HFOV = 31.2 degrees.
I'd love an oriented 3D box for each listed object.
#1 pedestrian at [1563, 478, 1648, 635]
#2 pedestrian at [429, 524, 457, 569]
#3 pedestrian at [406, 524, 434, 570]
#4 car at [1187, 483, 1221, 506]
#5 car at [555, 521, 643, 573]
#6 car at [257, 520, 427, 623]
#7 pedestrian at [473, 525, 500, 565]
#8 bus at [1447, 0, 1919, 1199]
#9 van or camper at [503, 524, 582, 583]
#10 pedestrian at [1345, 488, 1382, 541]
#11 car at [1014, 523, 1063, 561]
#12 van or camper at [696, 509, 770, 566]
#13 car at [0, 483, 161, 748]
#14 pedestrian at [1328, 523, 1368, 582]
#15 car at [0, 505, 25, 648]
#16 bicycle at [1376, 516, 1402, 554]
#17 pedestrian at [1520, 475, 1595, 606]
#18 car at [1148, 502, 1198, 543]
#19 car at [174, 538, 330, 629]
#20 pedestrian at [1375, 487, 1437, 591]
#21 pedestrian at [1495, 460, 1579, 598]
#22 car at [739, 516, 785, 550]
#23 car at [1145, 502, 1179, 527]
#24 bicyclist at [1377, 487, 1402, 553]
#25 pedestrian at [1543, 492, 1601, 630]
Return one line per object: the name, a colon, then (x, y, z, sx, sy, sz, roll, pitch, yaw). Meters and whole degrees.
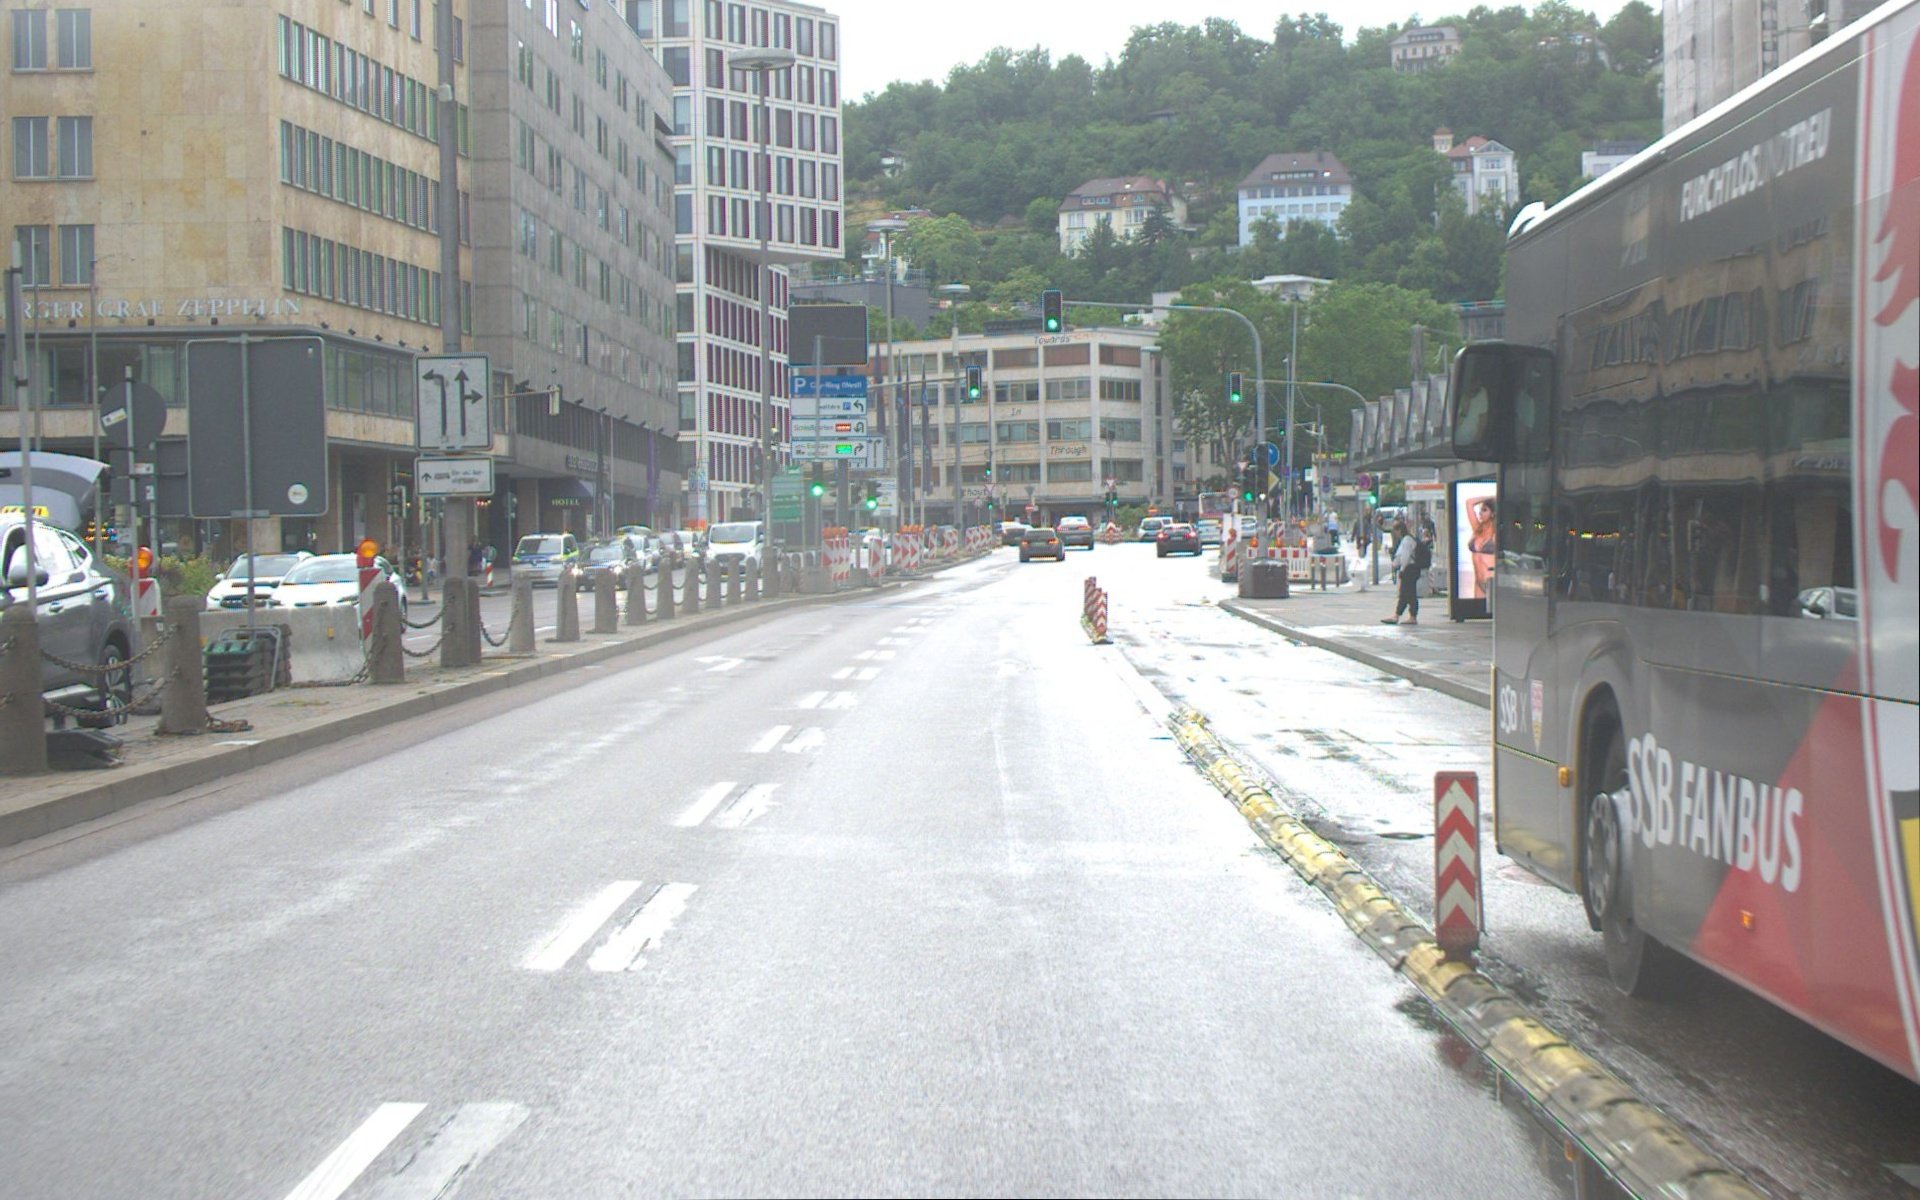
pedestrian: (7.047, -0.482, 37.543, 0.762, 1.687, 0.822, -1, 1, 0)
pedestrian: (-17.826, -1.847, 118.526, 0.721, 1.552, 0.895, -1, 1, 4)
pedestrian: (-18.605, -1.824, 118.506, 0.721, 1.552, 0.905, -1, 1, 4)
car: (15.810, -6.851, 223.027, 1.993, 1.437, 4.000, 1, 2, 1)
car: (-11.654, -1.722, 111.214, 1.994, 1.611, 4.977, -1, 1, 4)
car: (-10.517, -0.522, 58.861, 1.962, 1.559, 4.836, -3, 2, 0)
pedestrian: (-17.938, -2.083, 130.267, 0.795, 1.521, 0.916, -1, 1, 5)
bus: (3.419, -0.134, 9.843, 2.755, 3.055, 8.993, 1, 1, 0)
van or camper: (-14.775, -1.655, 121.873, 1.994, 2.007, 4.965, 0, 2, 2)
pedestrian: (14.234, -3.027, 121.307, 0.948, 1.835, 0.945, 0, 1, 33)
car: (3.340, -2.480, 146.180, 1.993, 1.546, 4.000, -1, 1, 1)
van or camper: (-8.149, -2.250, 123.882, 1.994, 2.007, 5.189, 0, 1, 3)
car: (-7.195, 0.074, 24.016, 1.993, 1.716, 4.782, -1, 1, 1)
pedestrian: (10.676, -1.306, 94.584, 0.796, 1.602, 0.834, 0, 1, 32)
car: (-11.372, -0.223, 36.361, 1.993, 1.546, 4.001, -1, 1, -2)
bicycle: (12.153, -1.845, 97.369, 0.707, 1.046, 1.806, 0, 2, 7)
pedestrian: (7.662, -0.767, 44.100, 0.808, 1.654, 0.804, 1, 1, 1)
car: (9.149, -3.315, 147.962, 1.993, 1.700, 4.000, -1, 1, 2)
car: (-13.786, -0.355, 67.207, 1.962, 1.559, 4.836, -3, 2, 0)
pedestrian: (7.258, -1.000, 55.999, 0.701, 1.673, 0.723, -1, 1, -26)
pedestrian: (8.667, -1.070, 51.671, 0.802, 2.043, 0.926, 0, 2, -39)
car: (-9.456, -3.217, 164.477, 1.768, 1.603, 4.226, 0, 2, 3)
car: (12.016, -5.082, 204.690, 1.819, 1.437, 4.000, 1, 2, 2)
bicyclist: (12.155, -2.267, 97.338, 0.703, 1.838, 0.967, 0, 1, 7)
pedestrian: (7.004, -0.450, 39.370, 0.521, 1.560, 0.729, -1, 1, 0)
